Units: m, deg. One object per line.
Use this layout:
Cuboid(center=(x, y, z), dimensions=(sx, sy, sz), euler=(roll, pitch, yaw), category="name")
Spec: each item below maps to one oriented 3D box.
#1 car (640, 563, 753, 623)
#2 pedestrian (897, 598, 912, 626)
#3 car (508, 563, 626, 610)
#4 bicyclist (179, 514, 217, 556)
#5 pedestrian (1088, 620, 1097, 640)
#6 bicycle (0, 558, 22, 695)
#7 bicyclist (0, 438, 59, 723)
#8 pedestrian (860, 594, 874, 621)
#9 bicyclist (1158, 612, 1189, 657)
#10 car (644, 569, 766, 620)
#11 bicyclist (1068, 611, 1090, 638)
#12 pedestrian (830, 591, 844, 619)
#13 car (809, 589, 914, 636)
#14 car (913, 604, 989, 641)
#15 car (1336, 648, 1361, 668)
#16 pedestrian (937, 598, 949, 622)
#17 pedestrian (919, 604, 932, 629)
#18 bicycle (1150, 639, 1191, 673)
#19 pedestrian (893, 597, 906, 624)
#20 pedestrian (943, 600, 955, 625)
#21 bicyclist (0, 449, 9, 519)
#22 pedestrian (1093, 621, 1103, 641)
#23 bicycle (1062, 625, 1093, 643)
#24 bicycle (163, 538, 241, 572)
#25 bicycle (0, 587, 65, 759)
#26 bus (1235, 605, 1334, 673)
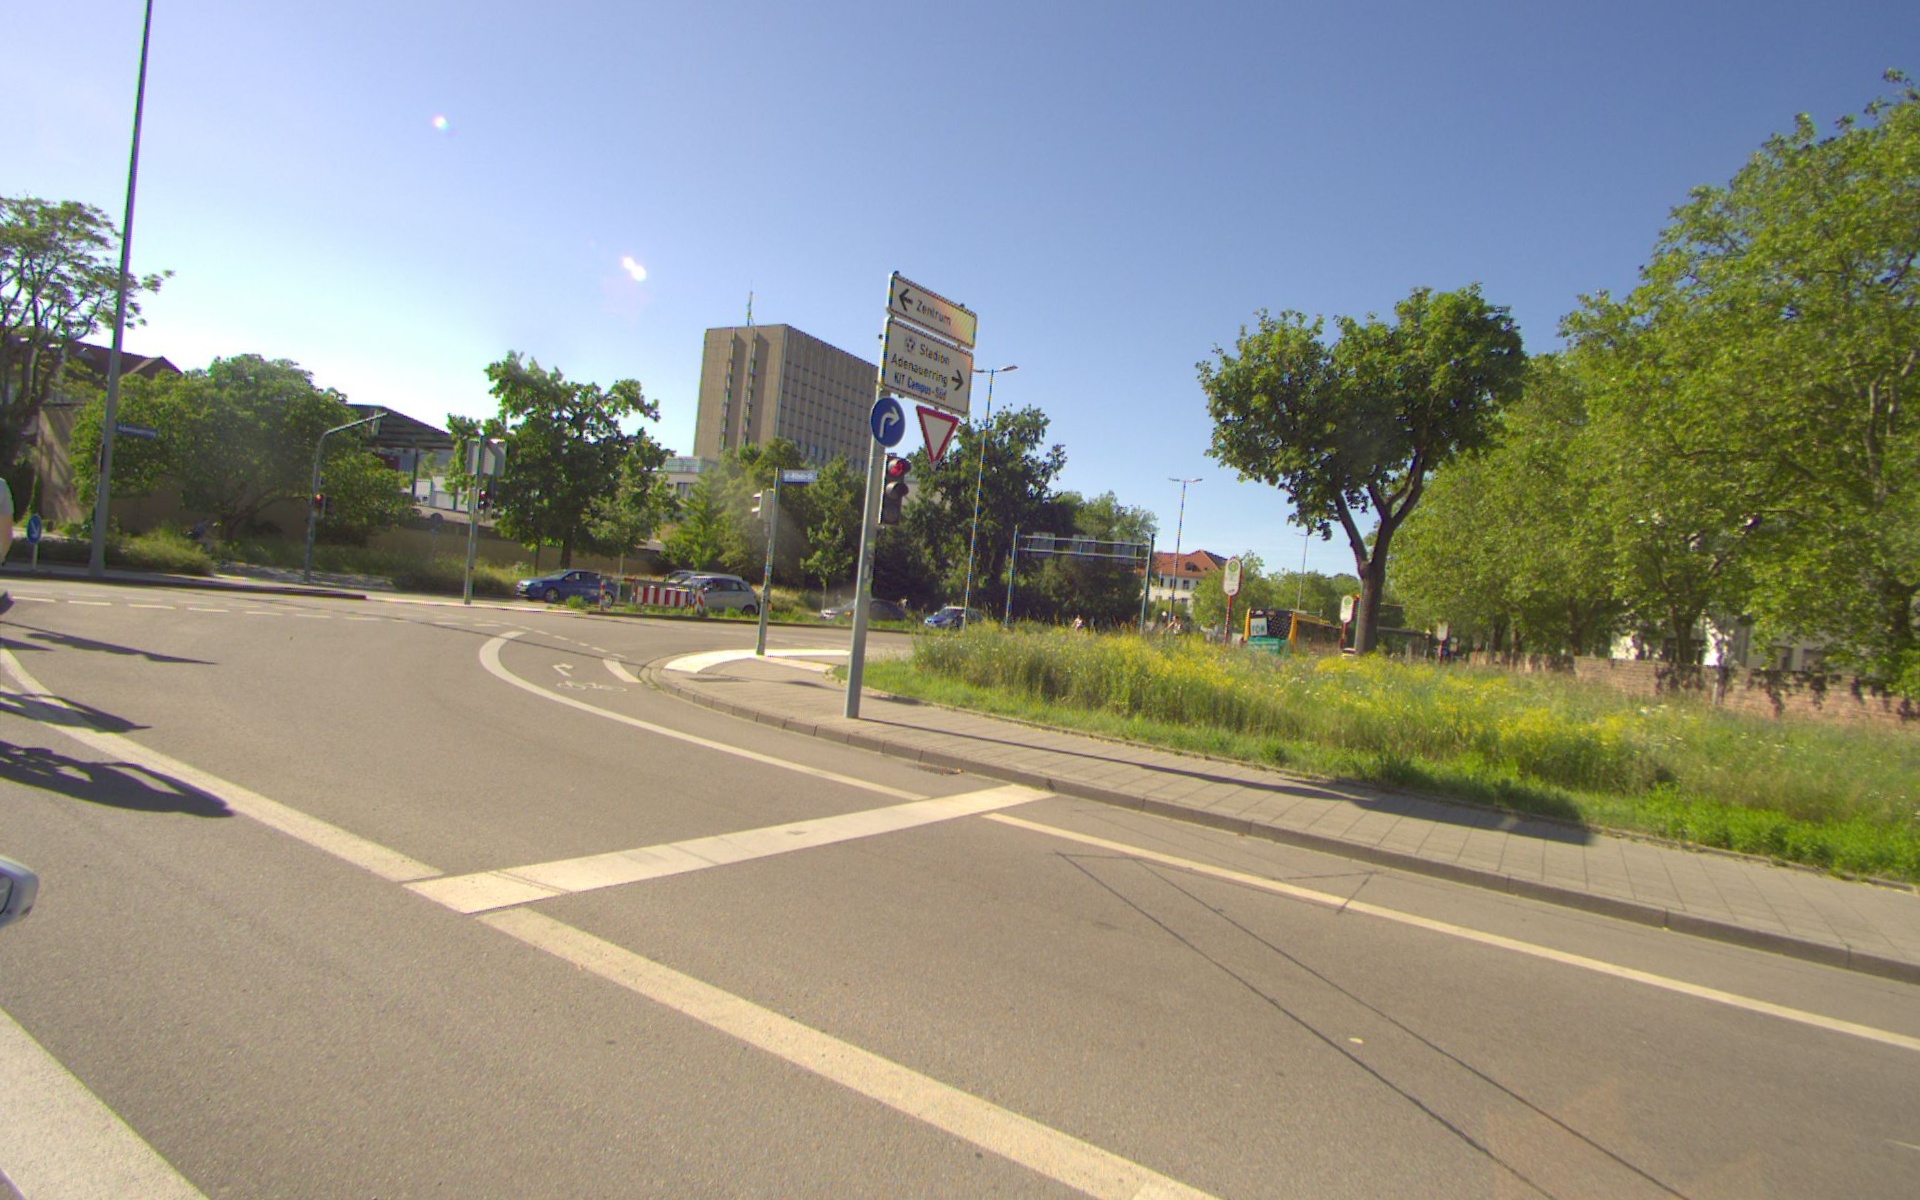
Cuboid(center=(-12.305, -0.275, 47.333), dimensions=(1.968, 2.131, 4.885), euler=(6, -2, 34), category="car")
Cuboid(center=(-3.828, 0.843, 69.525), dimensions=(0.702, 1.872, 0.561), euler=(7, 1, 35), category="pedestrian")
Cuboid(center=(-16.086, -0.516, 41.342), dimensions=(1.717, 1.453, 4.162), euler=(7, 0, 38), category="car")
Cuboid(center=(-26.991, -2.305, 35.630), dimensions=(0.685, 1.333, 0.825), euler=(9, 3, 37), category="bicyclist")
Cuboid(center=(12.637, 2.870, 95.973), dimensions=(0.519, 1.801, 0.561), euler=(7, 1, 34), category="pedestrian")
Cuboid(center=(-8.198, 0.088, 7.777), dimensions=(1.935, 1.014, 0.661), euler=(6, -1, 26), category="bicycle")
Cuboid(center=(-6.221, -0.170, 6.093), dimensions=(1.000, 1.688, 0.752), euler=(6, -1, 33), category="bicyclist")
Cuboid(center=(-6.377, 0.524, 68.922), dimensions=(0.559, 1.800, 0.521), euler=(6, 1, -42), category="pedestrian")
Cuboid(center=(6.782, 1.101, 31.989), dimensions=(0.509, 1.368, 1.002), euler=(7, 1, 32), category="bicyclist")
Cuboid(center=(-9.430, -0.171, 37.433), dimensions=(1.840, 1.426, 4.046), euler=(6, 0, 38), category="car")
Cuboid(center=(7.898, 1.611, 66.611), dimensions=(0.778, 1.649, 1.316), euler=(7, 1, 35), category="bicyclist")
Cuboid(center=(-8.040, 0.337, 65.805), dimensions=(0.519, 1.801, 0.561), euler=(7, 1, 34), category="pedestrian")
Cuboid(center=(-4.302, 0.579, 44.712), dimensions=(1.968, 1.604, 4.735), euler=(6, 0, 34), category="car")
Cuboid(center=(-0.384, 1.154, 50.375), dimensions=(1.758, 1.448, 3.989), euler=(6, 0, 34), category="car")
Cuboid(center=(33.173, 4.958, 85.800), dimensions=(1.669, 1.525, 3.772), euler=(6, 0, 24), category="car")
Cuboid(center=(-1.276, 0.780, 76.227), dimensions=(0.519, 1.716, 0.561), euler=(7, 1, 35), category="pedestrian")
Cuboid(center=(-2.552, 1.218, 73.963), dimensions=(0.519, 1.801, 0.561), euler=(7, 1, 35), category="pedestrian")
Cuboid(center=(6.706, 1.795, 31.996), dimensions=(0.509, 1.007, 2.056), euler=(7, 0, 32), category="bicycle")
Cuboid(center=(-4.265, 0.753, 71.262), dimensions=(0.519, 1.801, 0.561), euler=(7, 1, 35), category="pedestrian")
Cuboid(center=(-0.810, 0.964, 75.837), dimensions=(0.519, 1.801, 0.561), euler=(7, 1, 35), category="pedestrian")
Cuboid(center=(-8.132, -0.373, 7.783), dimensions=(1.048, 1.759, 0.647), euler=(7, -1, 26), category="bicyclist")
Cuboid(center=(13.337, 3.012, 97.217), dimensions=(0.519, 1.801, 0.561), euler=(7, 1, 35), category="pedestrian")
Cuboid(center=(7.792, 2.250, 66.545), dimensions=(0.778, 1.032, 2.630), euler=(7, 0, 36), category="bicycle")
Cuboid(center=(-26.941, -1.591, 35.790), dimensions=(0.685, 0.942, 2.079), euler=(9, 2, 38), category="bicycle")
Cuboid(center=(-6.289, 0.348, 6.093), dimensions=(1.946, 0.906, 0.741), euler=(6, -2, 33), category="bicycle")
Cuboid(center=(17.538, 2.221, 53.805), dimensions=(2.749, 2.662, 10.104), euler=(6, -2, 30), category="bus")
